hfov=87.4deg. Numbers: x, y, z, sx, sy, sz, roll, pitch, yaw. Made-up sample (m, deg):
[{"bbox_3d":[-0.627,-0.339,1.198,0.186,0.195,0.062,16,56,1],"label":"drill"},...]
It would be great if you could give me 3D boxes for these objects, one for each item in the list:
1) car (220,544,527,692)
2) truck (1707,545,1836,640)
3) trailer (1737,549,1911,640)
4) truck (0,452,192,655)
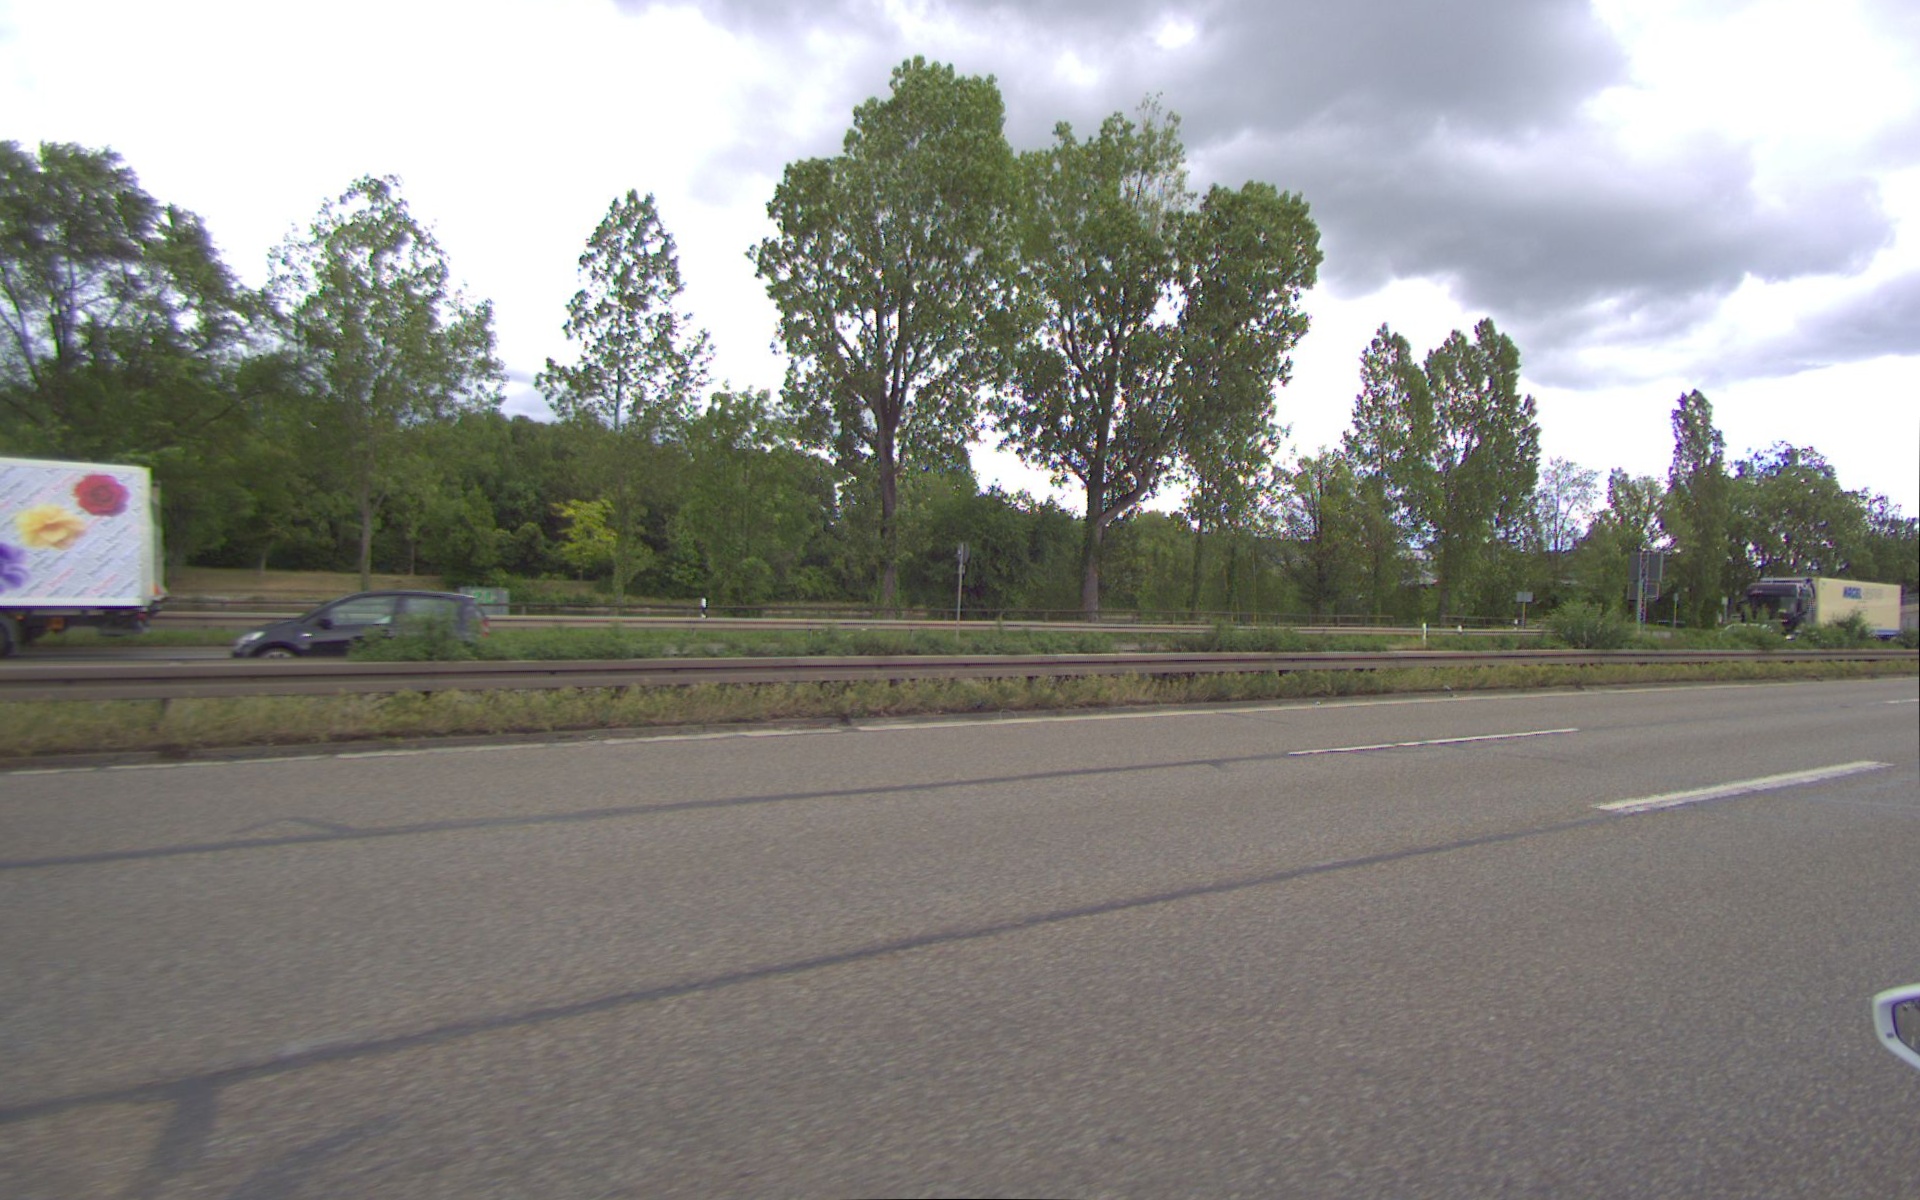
[{"bbox_3d":[-9.182,0.237,15.884,3.959,2.041,1.980,1,3,-35],"label":"car"},{"bbox_3d":[43.247,-0.373,53.501,6.144,4.736,3.443,1,1,-33],"label":"truck"},{"bbox_3d":[49.999,-0.189,57.870,14.622,4.736,3.443,1,1,-33],"label":"trailer"},{"bbox_3d":[-18.742,-0.926,19.175,6.274,3.693,2.963,1,3,-35],"label":"truck"}]
